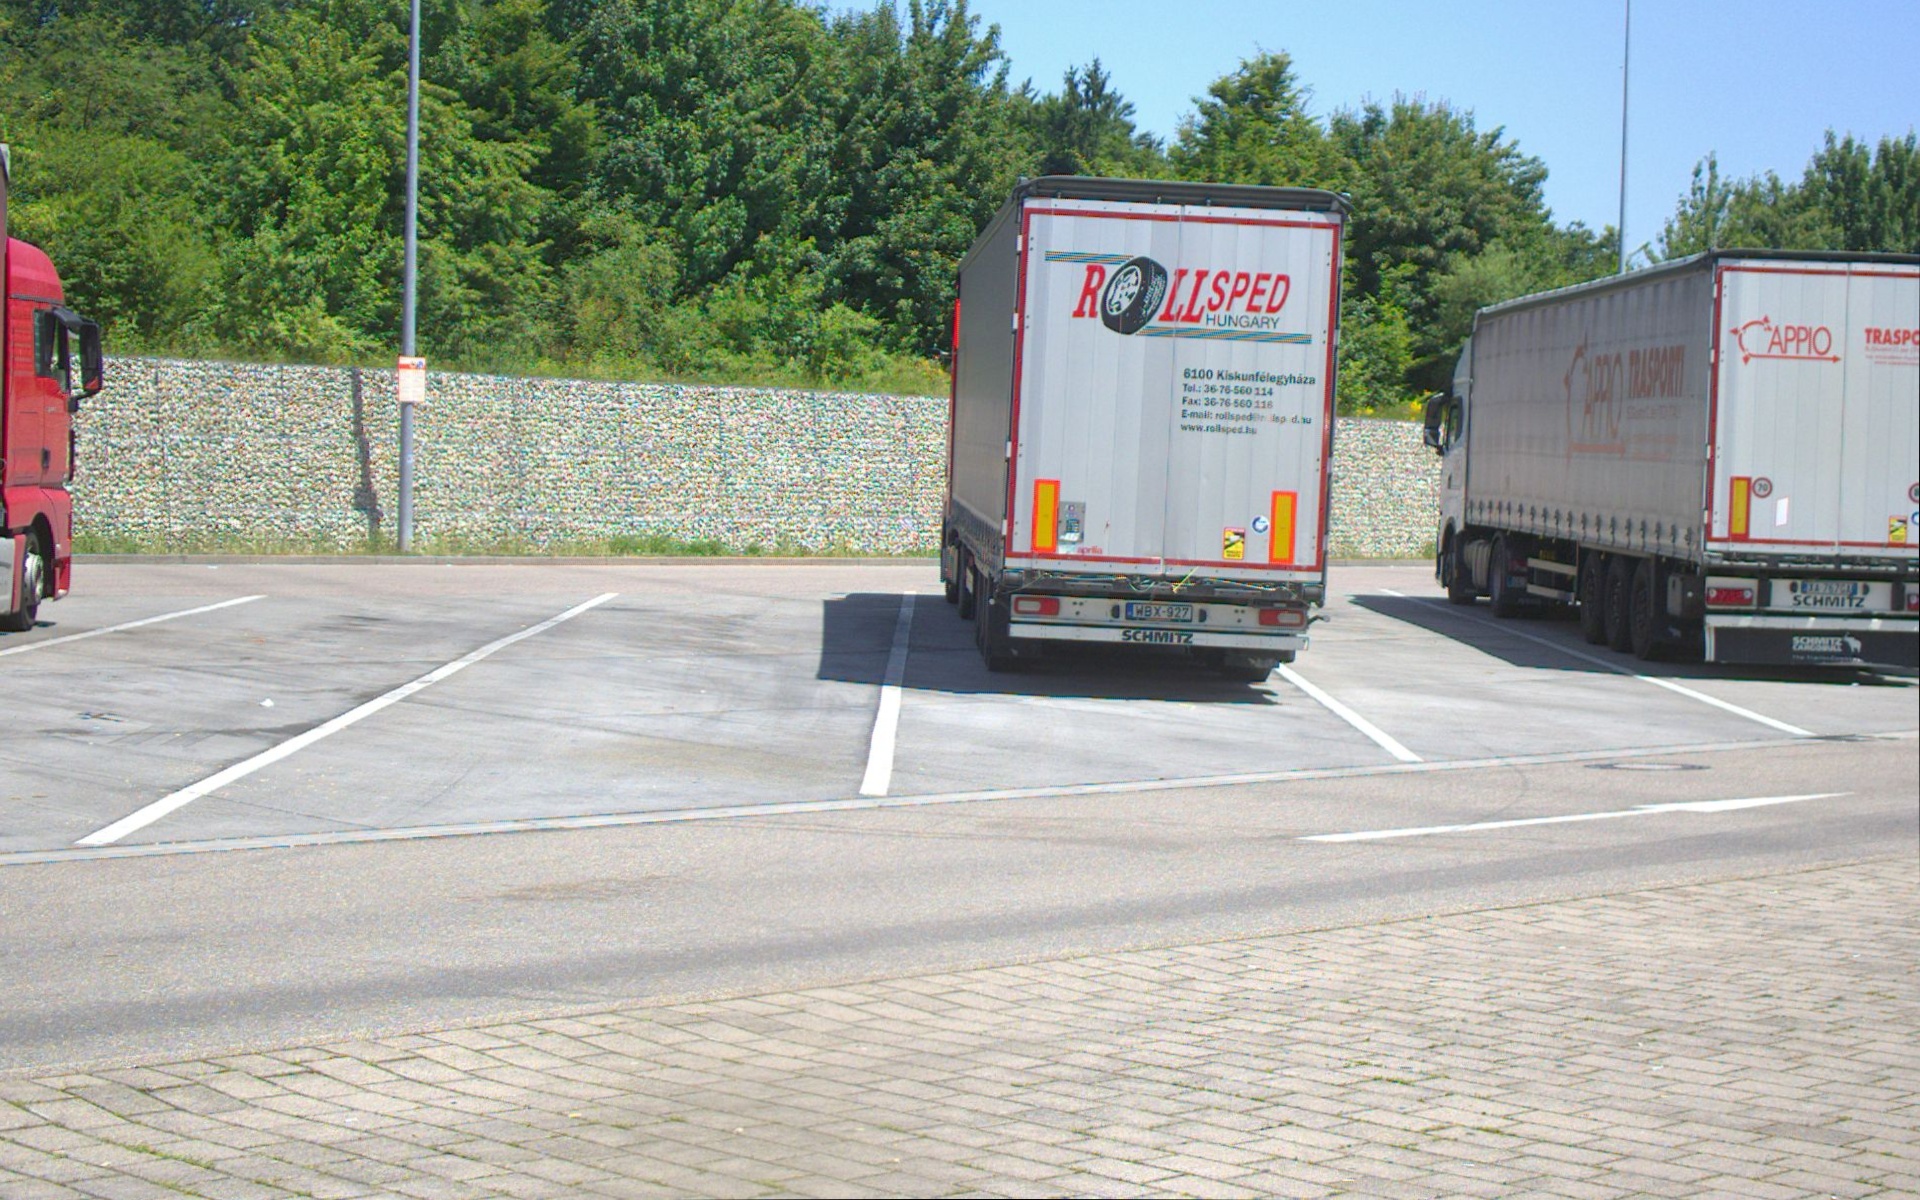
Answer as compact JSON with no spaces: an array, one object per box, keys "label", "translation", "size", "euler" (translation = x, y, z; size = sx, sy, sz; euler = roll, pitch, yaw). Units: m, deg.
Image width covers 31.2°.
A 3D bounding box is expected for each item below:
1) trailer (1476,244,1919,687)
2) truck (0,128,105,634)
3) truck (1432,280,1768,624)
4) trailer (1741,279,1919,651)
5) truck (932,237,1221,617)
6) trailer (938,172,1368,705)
[{"label":"trailer","translation":[8.185,-1.573,37.979],"size":[2.866,4.023,12.439],"euler":[2,3,0]},{"label":"truck","translation":[-9.145,-1.814,28.000],"size":[2.696,4.099,6.240],"euler":[2,3,0]},{"label":"truck","translation":[8.124,-1.956,44.606],"size":[2.866,4.023,6.957],"euler":[2,3,0]},{"label":"trailer","translation":[11.840,-1.534,39.044],"size":[2.866,4.023,12.439],"euler":[2,3,0]},{"label":"truck","translation":[1.228,-2.059,40.720],"size":[2.866,4.023,7.028],"euler":[2,3,-2]},{"label":"trailer","translation":[1.441,-1.640,33.641],"size":[2.866,4.023,14.243],"euler":[2,3,-2]}]
